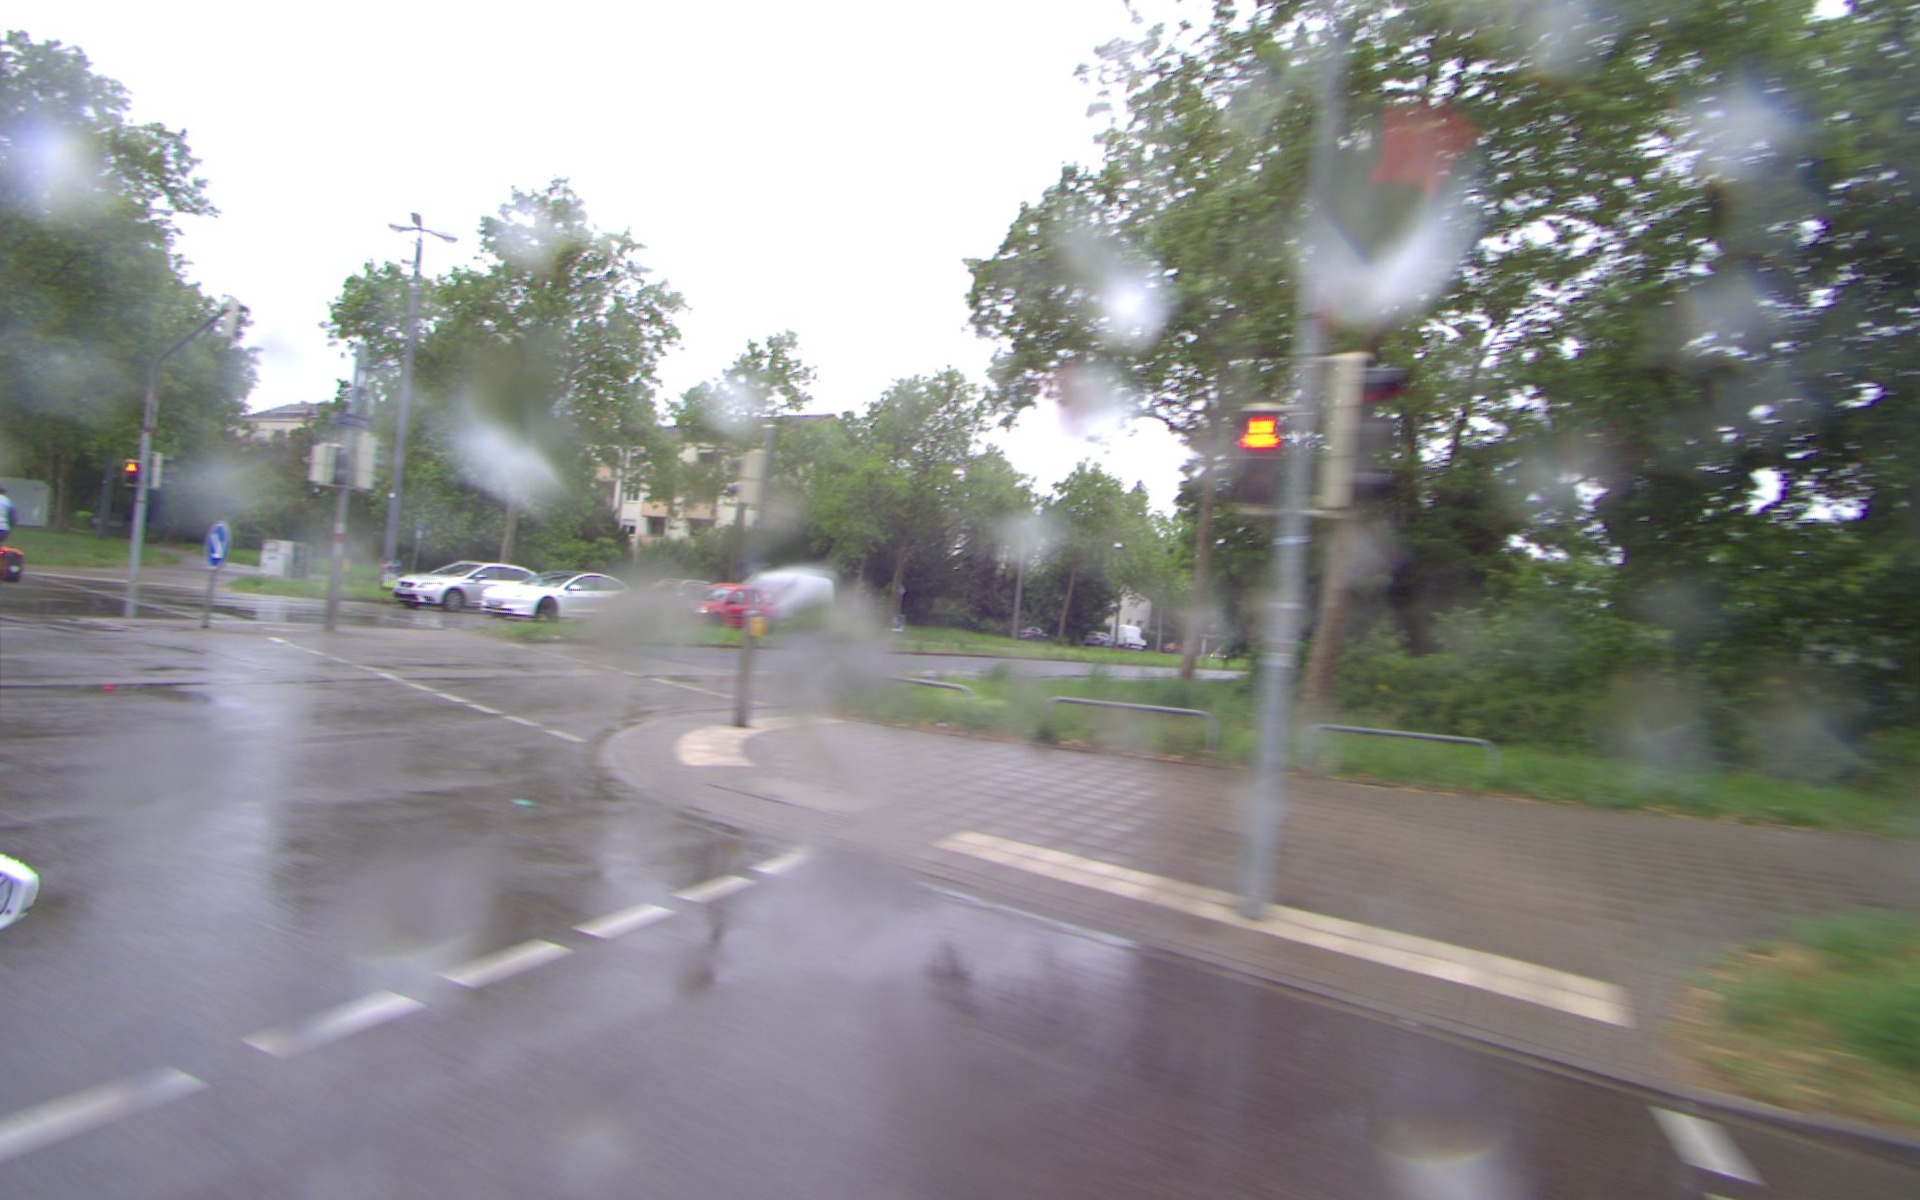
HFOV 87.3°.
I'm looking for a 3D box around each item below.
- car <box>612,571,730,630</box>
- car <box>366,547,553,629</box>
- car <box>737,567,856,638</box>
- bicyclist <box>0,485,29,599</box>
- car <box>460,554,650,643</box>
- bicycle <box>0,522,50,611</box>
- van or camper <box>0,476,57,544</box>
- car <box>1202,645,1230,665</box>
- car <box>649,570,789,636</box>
[{"bbox_3d":[-10.178,0.057,35.756,1.758,1.625,4.070,6,-2,23],"label":"car"},{"bbox_3d":[-13.877,-0.270,28.196,1.899,1.711,4.409,6,-2,23],"label":"car"},{"bbox_3d":[-6.858,0.185,42.911,1.964,2.419,5.622,6,-2,25],"label":"car"},{"bbox_3d":[-13.390,-0.830,13.686,0.829,1.524,0.692,5,-1,26],"label":"bicyclist"},{"bbox_3d":[-10.721,0.026,27.059,1.899,1.849,4.610,6,-2,23],"label":"car"},{"bbox_3d":[-13.254,-0.516,13.604,1.852,1.130,0.692,5,-1,26],"label":"bicycle"},{"bbox_3d":[-52.025,-5.073,52.276,7.303,3.215,3.223,9,-2,-44],"label":"van or camper"},{"bbox_3d":[26.040,5.623,102.168,1.964,1.659,4.001,6,-2,23],"label":"car"},{"bbox_3d":[-7.739,0.147,32.810,1.759,1.625,4.617,6,-2,26],"label":"car"}]
